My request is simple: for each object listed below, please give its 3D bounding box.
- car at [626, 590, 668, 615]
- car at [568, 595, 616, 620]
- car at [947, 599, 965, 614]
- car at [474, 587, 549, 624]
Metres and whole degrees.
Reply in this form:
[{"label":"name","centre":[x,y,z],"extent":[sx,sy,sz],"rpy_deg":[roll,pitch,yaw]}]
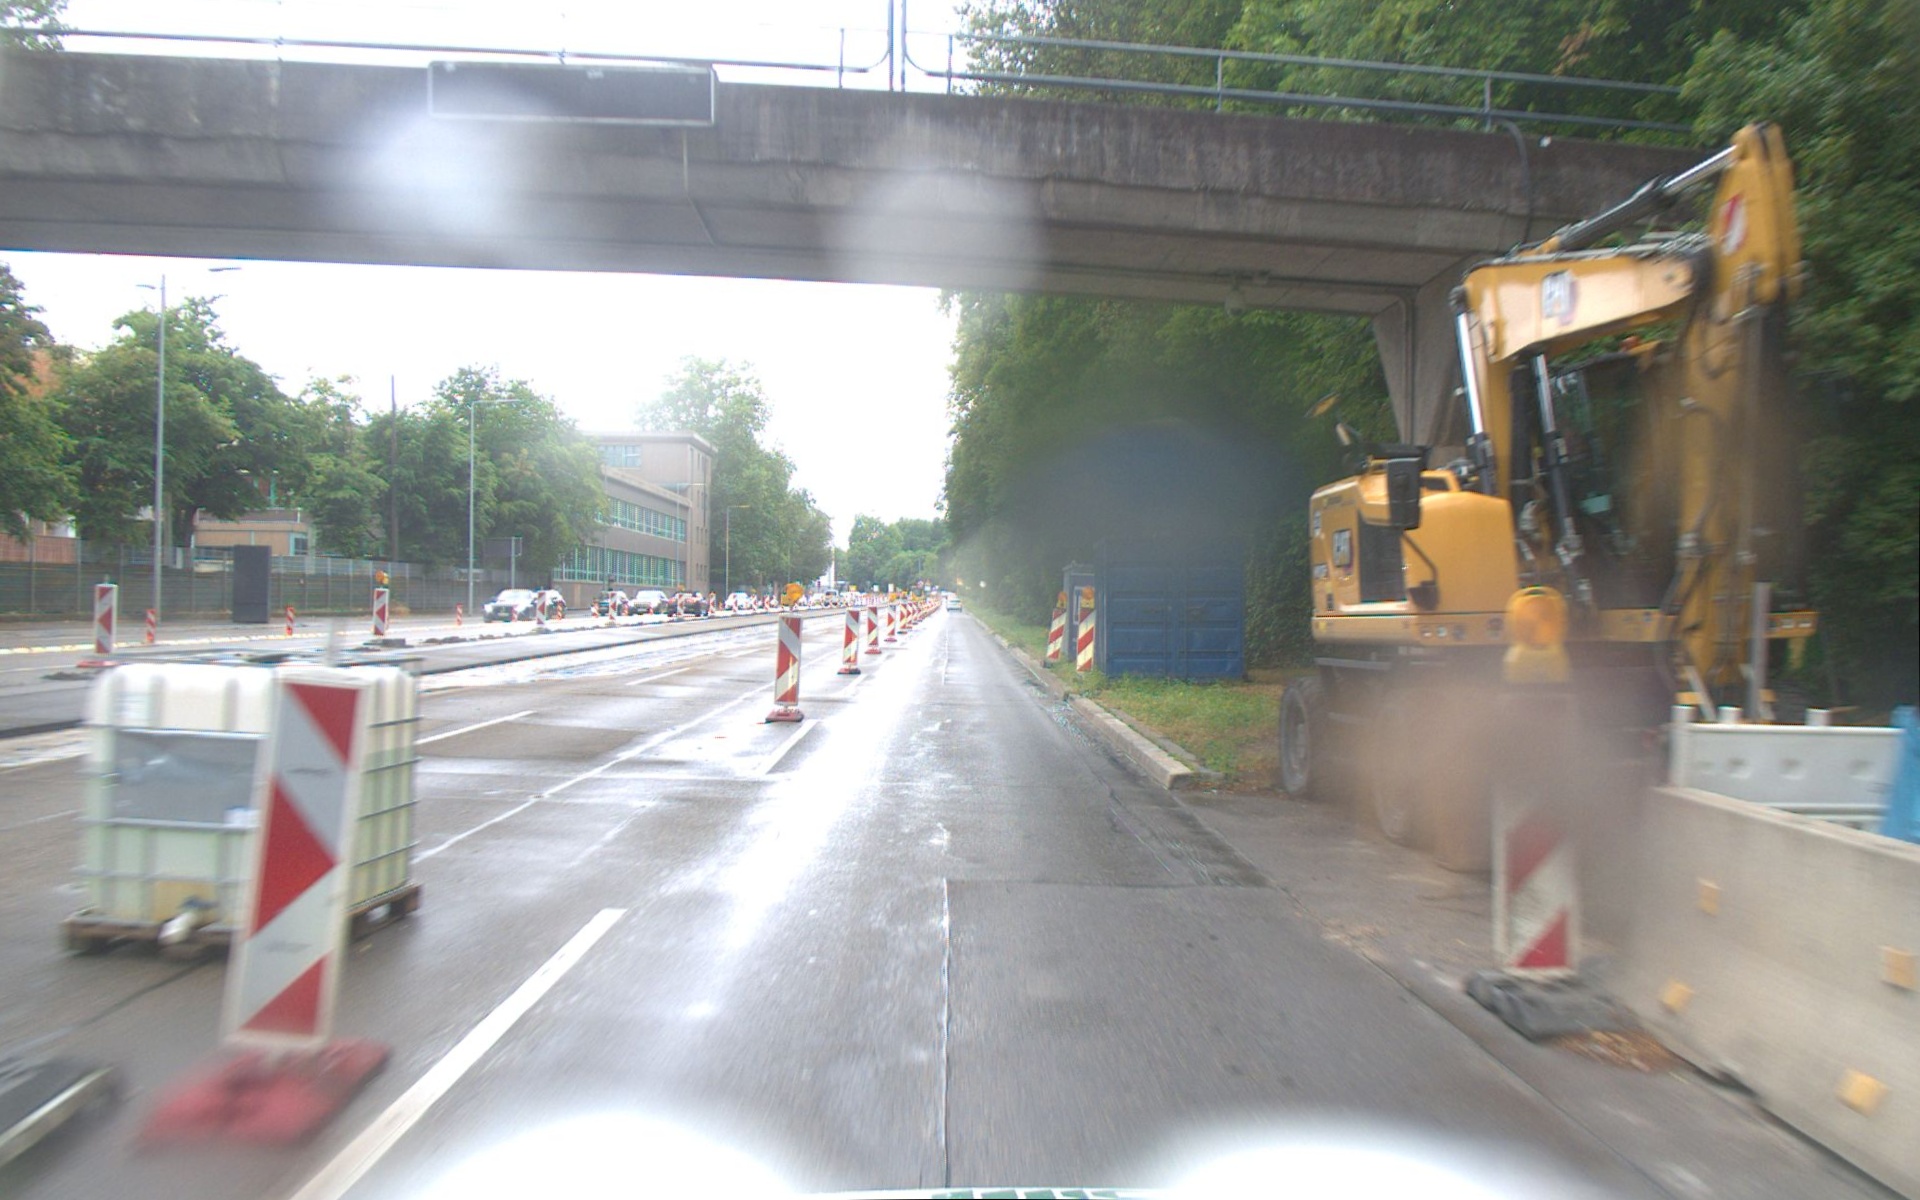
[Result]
[{"label":"car","centre":[-18.468,0.137,97.833],"extent":[1.688,1.467,4.000],"rpy_deg":[0,0,0]},{"label":"car","centre":[-22.292,0.441,100.367],"extent":[1.930,1.467,4.001],"rpy_deg":[0,0,1]},{"label":"car","centre":[-0.474,0.769,191.219],"extent":[1.953,1.668,3.999],"rpy_deg":[0,0,-1]},{"label":"car","centre":[-18.364,0.226,67.897],"extent":[1.930,1.467,4.000],"rpy_deg":[0,0,0]}]
